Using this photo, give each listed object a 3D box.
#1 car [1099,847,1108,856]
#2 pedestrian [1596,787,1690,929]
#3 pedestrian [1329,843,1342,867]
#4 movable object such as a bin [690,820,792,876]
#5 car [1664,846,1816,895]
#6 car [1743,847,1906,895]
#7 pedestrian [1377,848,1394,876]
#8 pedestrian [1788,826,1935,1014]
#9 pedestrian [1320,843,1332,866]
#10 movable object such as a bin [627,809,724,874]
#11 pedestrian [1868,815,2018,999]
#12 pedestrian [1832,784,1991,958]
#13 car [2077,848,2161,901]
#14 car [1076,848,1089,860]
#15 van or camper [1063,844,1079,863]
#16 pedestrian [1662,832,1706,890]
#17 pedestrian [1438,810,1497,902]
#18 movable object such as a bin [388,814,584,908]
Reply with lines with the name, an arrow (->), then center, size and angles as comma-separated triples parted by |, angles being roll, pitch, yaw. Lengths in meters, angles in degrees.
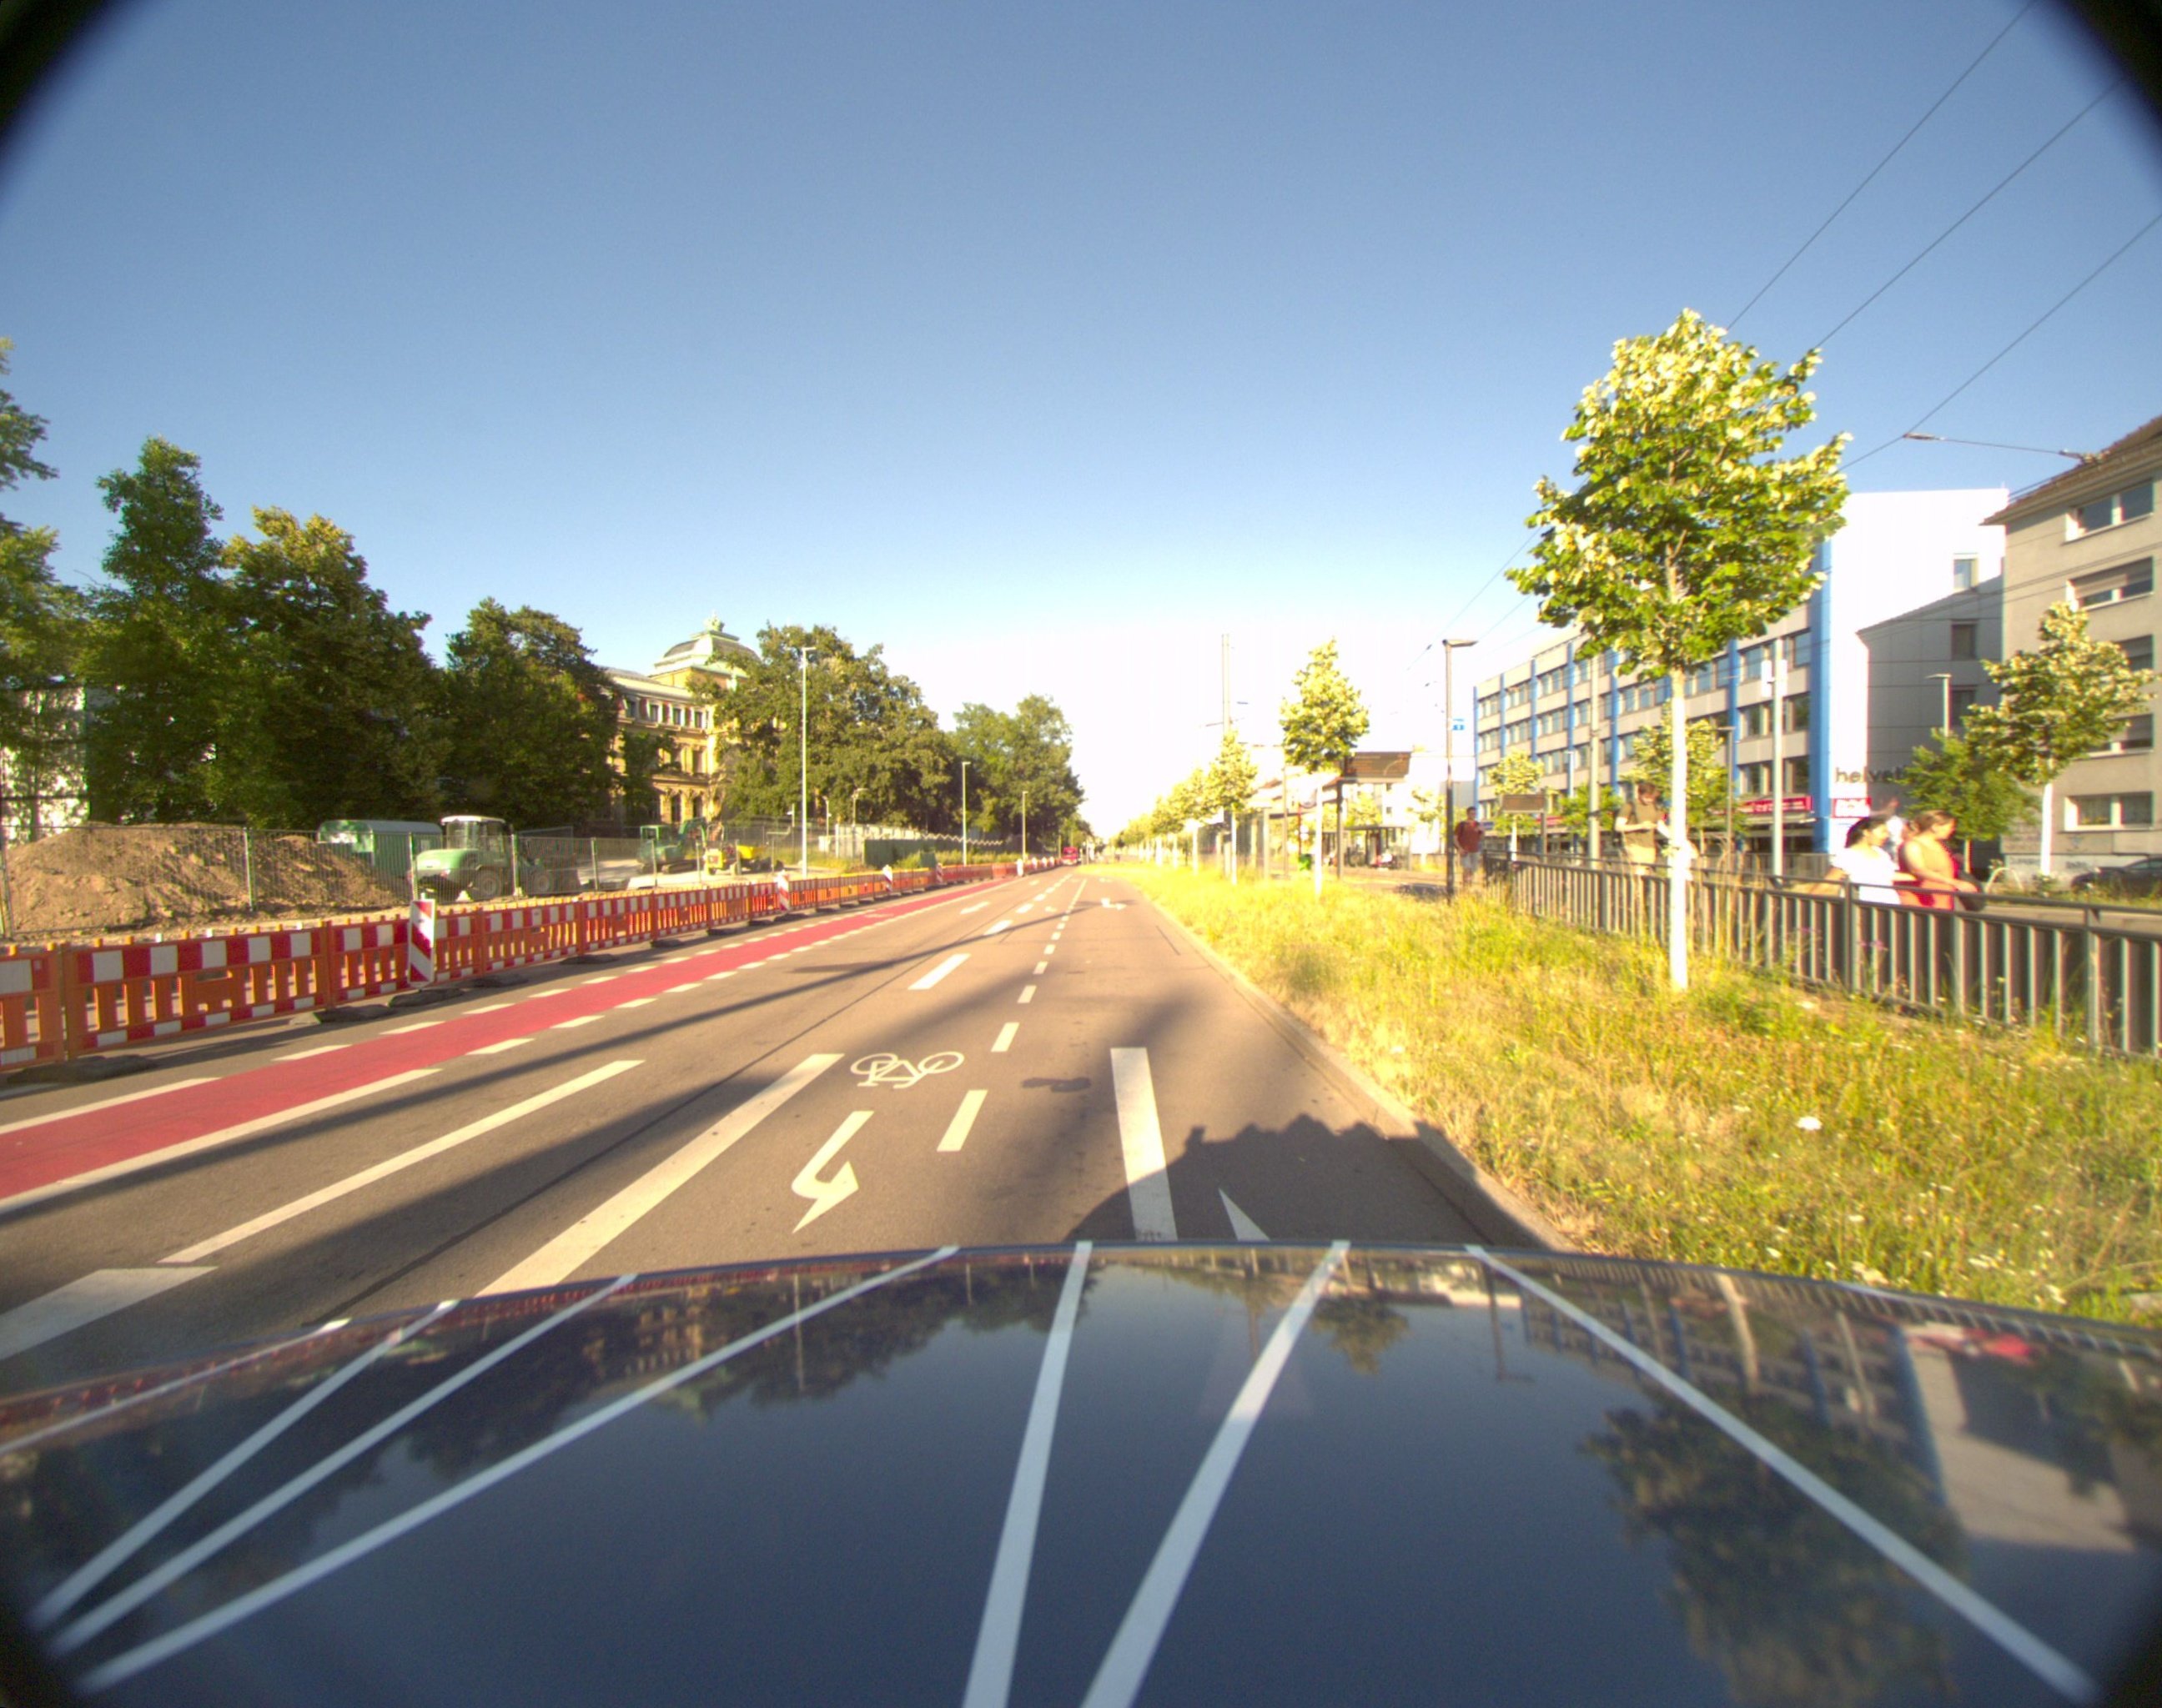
car -> 5.341, -0.587, 183.890 | 1.998, 2.002, 3.999 | -2, 1, 1
pedestrian -> 7.647, 0.051, 10.358 | 0.787, 1.853, 0.619 | -2, 1, 4
pedestrian -> 18.606, 0.068, 55.551 | 0.659, 1.682, 0.772 | -2, 1, 7
movable object such as a bin -> -18.646, -0.354, 42.082 | 1.997, 2.800, 5.871 | -2, 1, 11
car -> 22.820, 0.512, 26.539 | 1.886, 1.499, 3.942 | -2, 1, 1
car -> 25.887, 0.532, 26.671 | 1.886, 1.499, 3.942 | -2, 1, 1
pedestrian -> 18.269, 0.466, 45.610 | 0.660, 1.682, 0.772 | -2, 1, -1
pedestrian -> 6.351, 0.518, 6.203 | 0.638, 1.447, 0.525 | -2, 1, 0
pedestrian -> 18.666, 0.040, 57.855 | 0.659, 1.682, 0.772 | -2, 1, 4
movable object such as a bin -> -22.425, -0.691, 42.318 | 1.998, 3.310, 5.376 | -2, 1, 5
pedestrian -> 7.077, 0.417, 6.260 | 0.638, 1.423, 0.524 | -2, 1, -3
pedestrian -> 7.762, 0.154, 7.133 | 0.787, 1.540, 0.619 | -2, 1, 4
car -> 33.153, 0.618, 22.751 | 1.886, 1.499, 3.674 | -2, 1, 1
car -> 0.221, -0.035, 127.856 | 1.998, 2.002, 3.999 | -2, 1, 1
van or camper -> -1.305, -0.084, 102.988 | 1.998, 2.514, 5.913 | -2, 1, 1
pedestrian -> 17.915, 0.195, 22.599 | 0.787, 1.663, 0.619 | -2, 1, 4
pedestrian -> 7.336, 0.034, 14.450 | 0.787, 1.689, 0.619 | -2, 1, 4
movable object such as a bin -> -19.044, 0.168, 24.729 | 1.998, 2.668, 5.015 | -2, 1, 5
